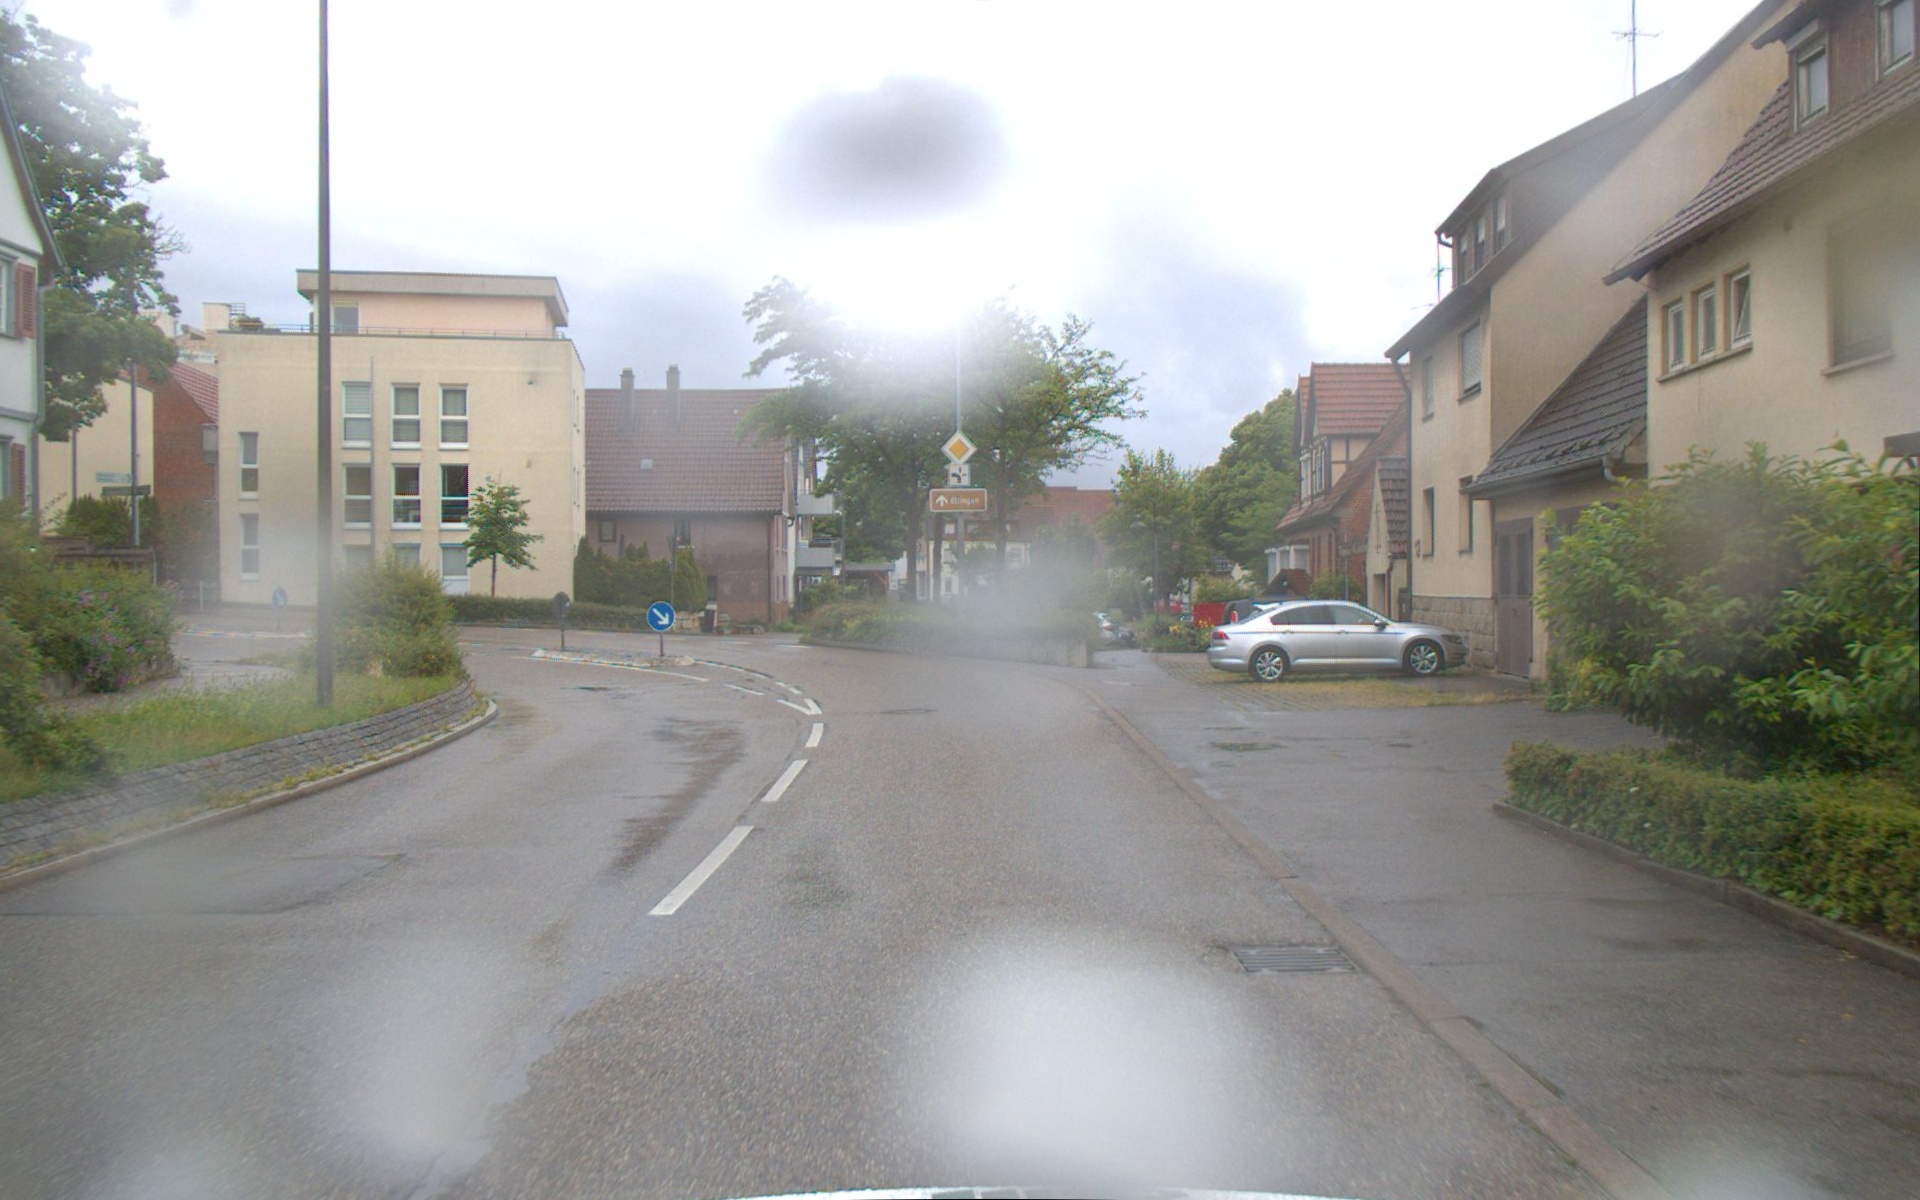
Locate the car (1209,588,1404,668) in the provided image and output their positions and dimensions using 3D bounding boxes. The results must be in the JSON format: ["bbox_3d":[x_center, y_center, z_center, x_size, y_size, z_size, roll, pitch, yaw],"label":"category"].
[{"bbox_3d":[7.634,0.623,36.650,3.906,1.610,1.748,-2,-1,-1],"label":"car"}]

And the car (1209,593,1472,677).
[{"bbox_3d":[6.942,0.636,30.571,4.515,1.440,1.822,-1,-1,6],"label":"car"}]

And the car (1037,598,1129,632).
[{"bbox_3d":[5.058,0.591,67.572,3.688,1.361,1.715,0,0,6],"label":"car"}]

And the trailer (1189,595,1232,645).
[{"bbox_3d":[8.888,0.706,58.569,1.378,1.678,2.727,2,0,10],"label":"trailer"}]

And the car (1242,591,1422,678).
[{"bbox_3d":[7.538,0.719,33.749,3.348,1.556,1.719,2,-5,5],"label":"car"}]
